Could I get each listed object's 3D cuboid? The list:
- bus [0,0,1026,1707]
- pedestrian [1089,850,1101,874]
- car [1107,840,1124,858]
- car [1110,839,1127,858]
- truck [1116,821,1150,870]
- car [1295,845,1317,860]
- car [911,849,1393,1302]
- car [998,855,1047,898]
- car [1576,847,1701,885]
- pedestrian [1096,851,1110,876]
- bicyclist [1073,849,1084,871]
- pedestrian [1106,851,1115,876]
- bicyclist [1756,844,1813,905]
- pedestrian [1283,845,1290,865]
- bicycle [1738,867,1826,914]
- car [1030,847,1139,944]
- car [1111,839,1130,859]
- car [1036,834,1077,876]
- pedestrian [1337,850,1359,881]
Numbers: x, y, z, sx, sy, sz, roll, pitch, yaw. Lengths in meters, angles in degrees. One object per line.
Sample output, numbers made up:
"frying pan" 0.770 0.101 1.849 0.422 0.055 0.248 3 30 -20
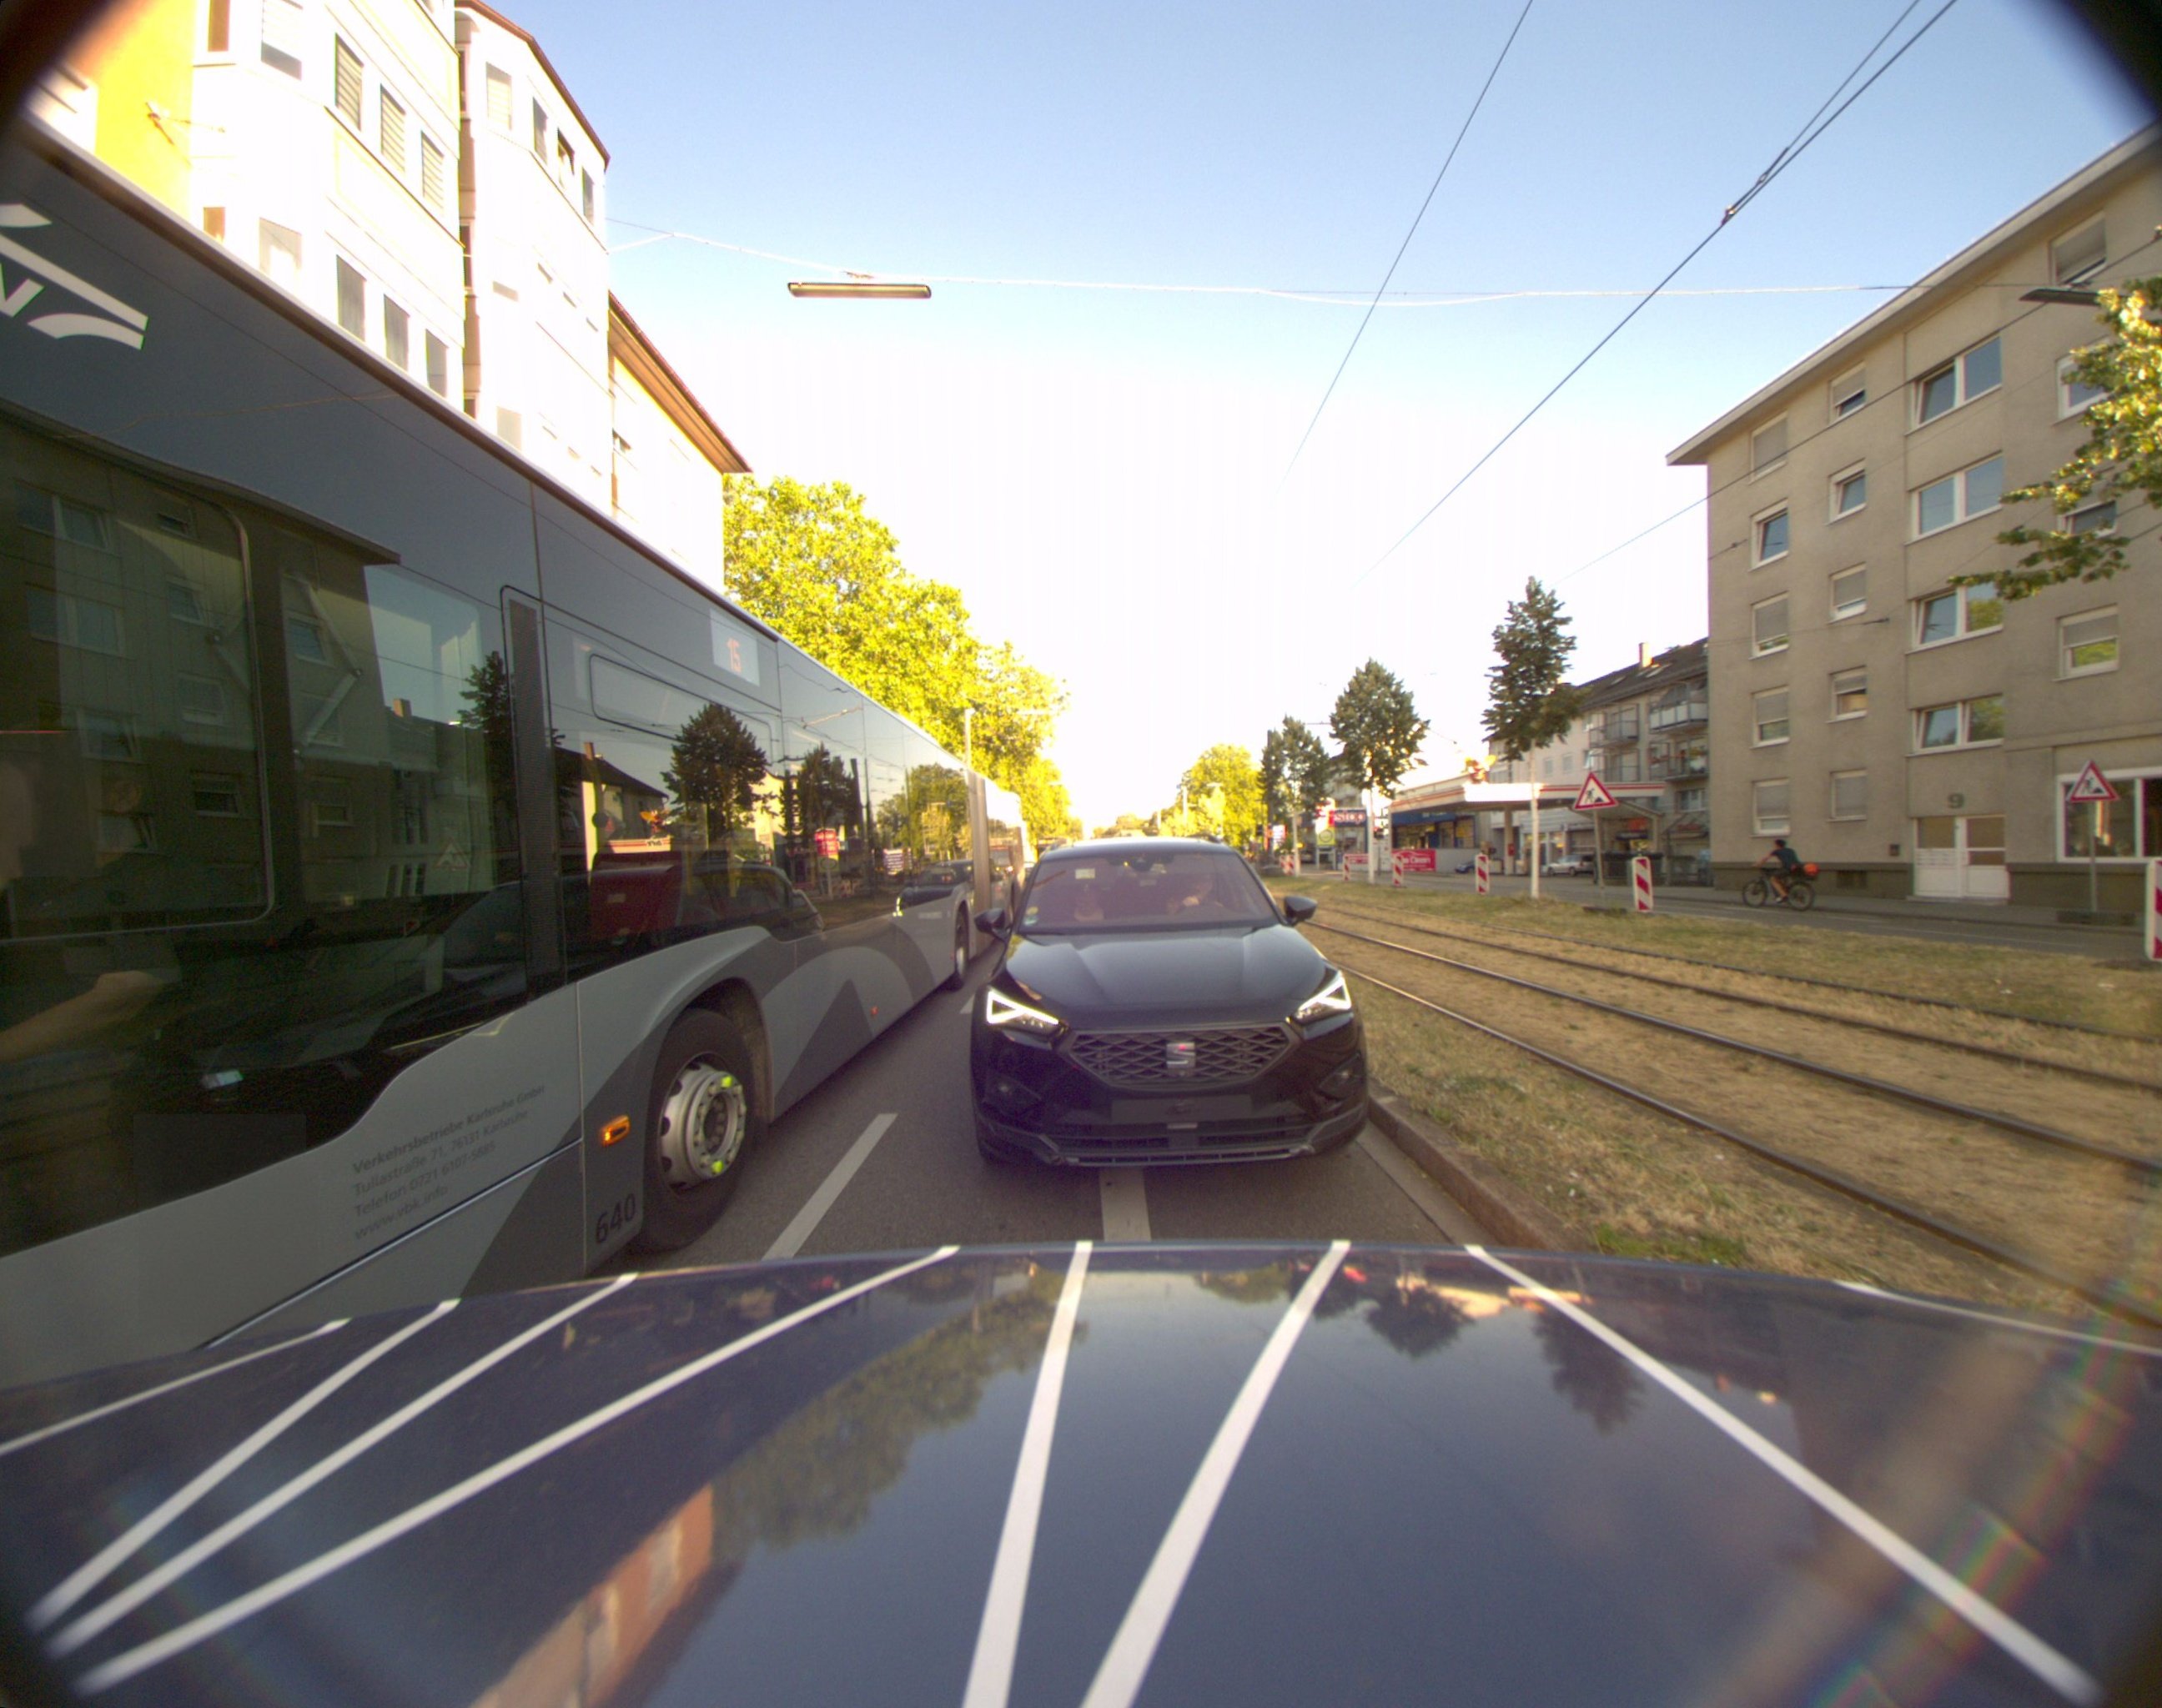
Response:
"bus" -2.813 0.136 9.080 2.773 3.131 17.740 -2 0 1
"pedestrian" 0.860 0.484 47.189 0.618 1.482 0.438 -2 1 -13
"car" 3.989 -0.626 87.864 1.767 2.002 3.791 -2 1 1
"car" 4.100 -0.582 83.542 1.767 2.002 3.791 -2 1 1
"truck" 4.310 -0.690 64.301 2.306 3.798 7.723 -2 1 1
"car" 25.096 -0.205 84.802 1.781 1.547 4.002 -2 1 9
"car" 0.299 0.848 4.908 1.774 1.667 4.000 -2 0 1
"car" -2.403 0.900 32.020 1.750 1.598 3.823 -2 1 -1
"car" 22.772 0.508 31.129 3.727 1.460 1.908 0 -1 0
"pedestrian" 1.450 0.627 49.289 0.508 1.552 0.700 -1 2 39
"bicyclist" -0.167 0.371 46.092 0.500 1.303 0.499 -3 1 -17
"pedestrian" 2.399 0.772 61.728 0.625 2.002 0.695 -2 0 0
"bicyclist" 16.958 0.494 18.328 0.779 1.438 0.650 -1 1 1
"pedestrian" 20.852 0.135 77.084 0.632 2.002 0.583 0 1 2
"bicycle" 16.962 0.850 18.450 0.447 1.038 1.861 -1 0 1
"car" 0.101 0.766 16.359 1.998 1.740 3.999 -2 1 1
"car" 4.061 -0.524 78.509 1.767 2.002 3.791 -2 1 1
"car" -1.721 0.024 55.835 2.681 2.875 5.452 -2 1 0
"pedestrian" 10.977 0.467 31.286 0.664 1.263 0.581 -2 0 1
